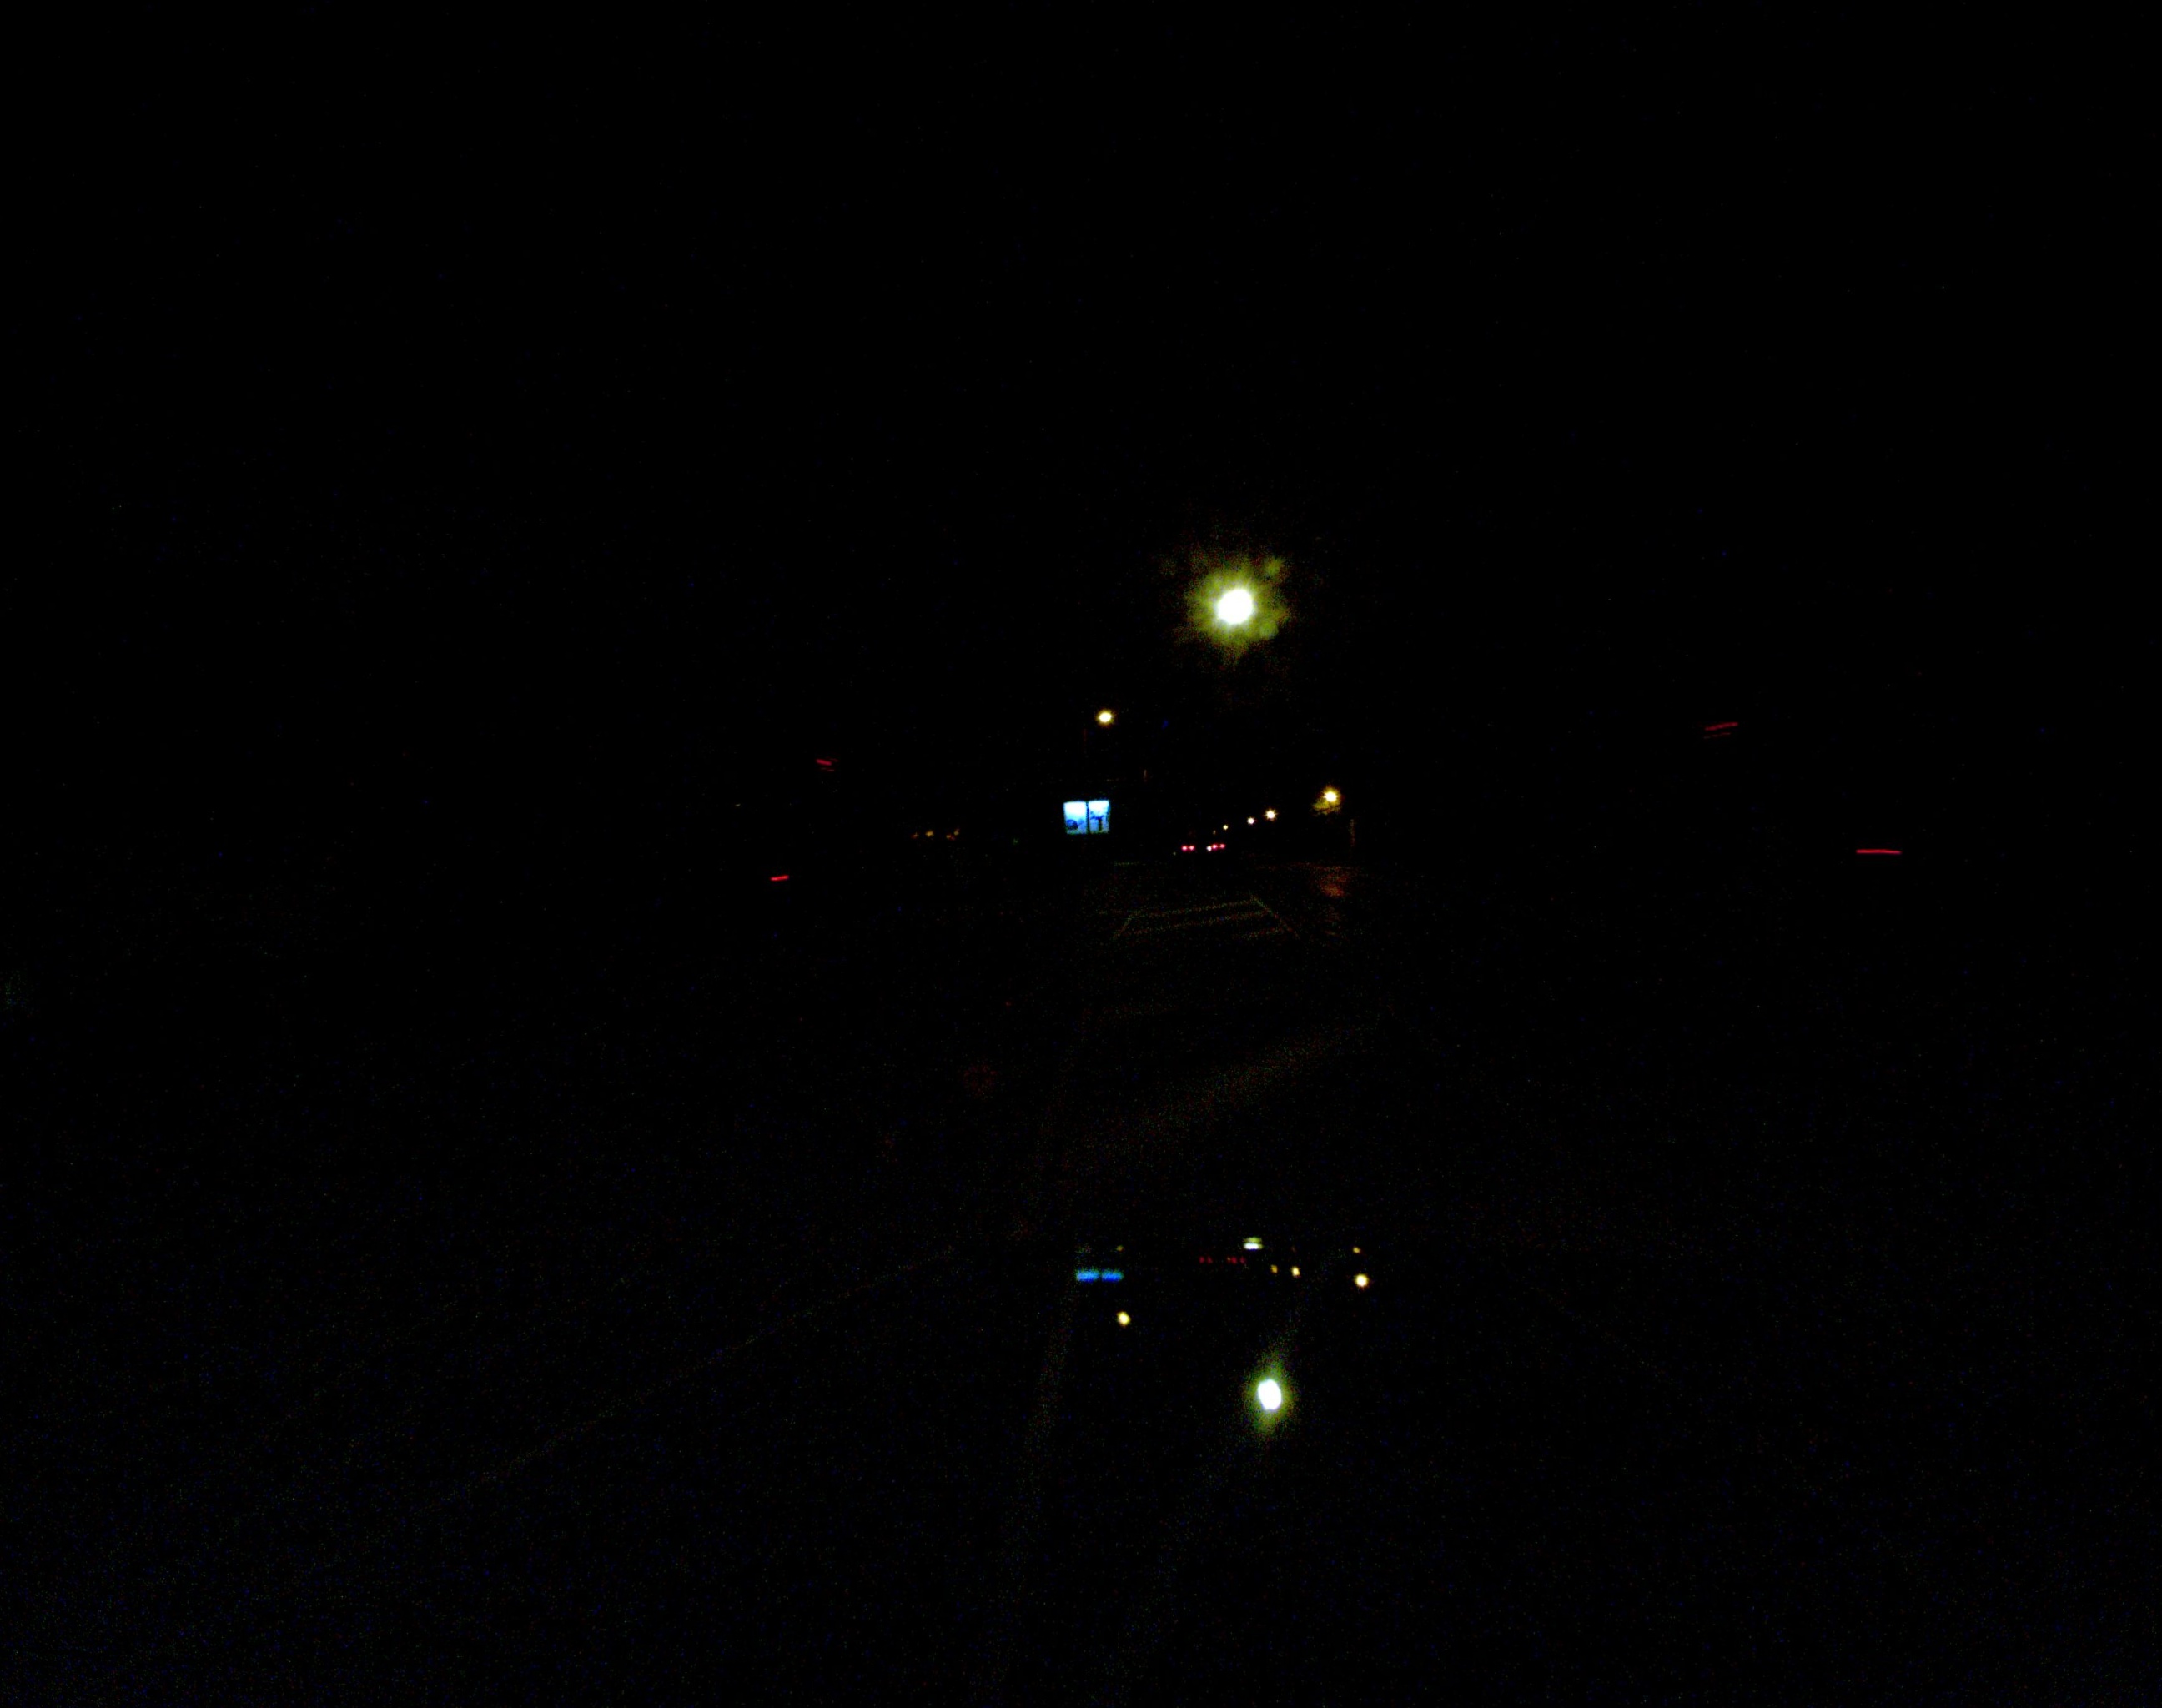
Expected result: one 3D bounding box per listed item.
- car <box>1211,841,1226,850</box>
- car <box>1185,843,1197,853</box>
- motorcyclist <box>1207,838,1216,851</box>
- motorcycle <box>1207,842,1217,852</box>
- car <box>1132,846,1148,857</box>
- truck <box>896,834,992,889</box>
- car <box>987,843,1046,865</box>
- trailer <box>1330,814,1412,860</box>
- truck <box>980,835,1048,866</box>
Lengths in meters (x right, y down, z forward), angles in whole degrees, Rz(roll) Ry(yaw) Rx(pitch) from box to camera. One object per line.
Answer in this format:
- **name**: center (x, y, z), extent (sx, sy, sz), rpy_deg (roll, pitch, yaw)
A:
- **car**: center (22.761, -1.359, 126.075), extent (1.853, 1.436, 4.917), rpy_deg (-3, 0, 4)
- **car**: center (19.240, -1.129, 132.898), extent (1.997, 1.617, 4.754), rpy_deg (-2, 1, 8)
- **motorcyclist**: center (19.108, -1.405, 111.115), extent (1.136, 1.889, 0.833), rpy_deg (-3, 1, 2)
- **motorcycle**: center (19.183, -1.009, 110.982), extent (0.999, 1.297, 2.826), rpy_deg (-3, 1, 2)
- **car**: center (8.580, -0.390, 110.467), extent (1.939, 1.543, 4.000), rpy_deg (-3, 0, 1)
- **truck**: center (-6.654, 0.294, 38.076), extent (2.187, 2.409, 7.320), rpy_deg (-3, 0, 10)
- **car**: center (-6.010, 0.020, 71.170), extent (5.082, 1.826, 1.990), rpy_deg (-2, 1, 11)
- **trailer**: center (17.711, -1.004, 46.547), extent (4.356, 2.704, 2.001), rpy_deg (-1, 0, 8)
- **truck**: center (-6.017, -0.321, 68.555), extent (5.541, 2.585, 2.473), rpy_deg (-2, 1, 7)
